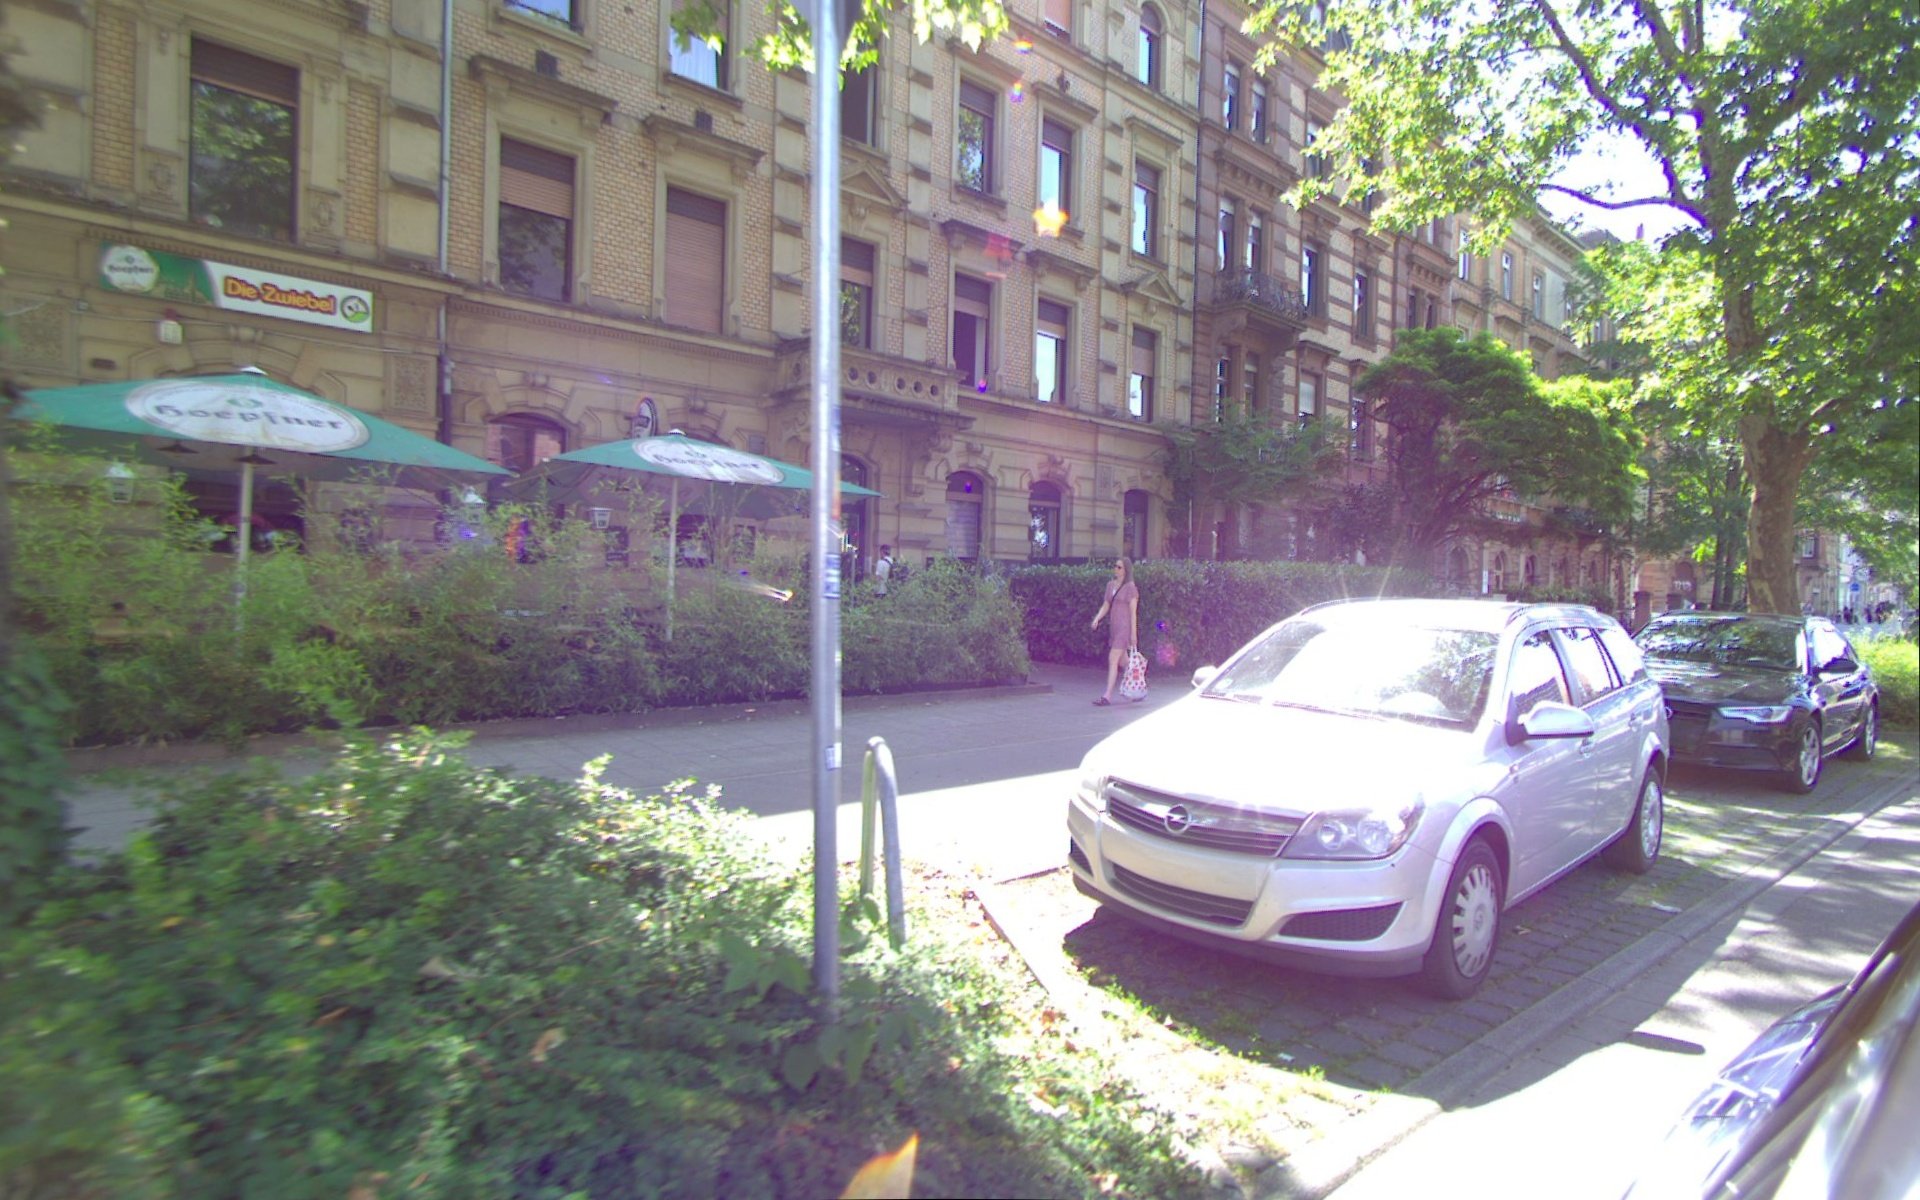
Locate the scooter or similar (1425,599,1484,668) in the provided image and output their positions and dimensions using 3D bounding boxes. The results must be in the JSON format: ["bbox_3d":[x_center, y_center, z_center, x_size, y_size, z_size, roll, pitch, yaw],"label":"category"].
[{"bbox_3d":[9.461,0.617,19.364,1.125,1.263,0.583,1,1,-41],"label":"scooter or similar"}]

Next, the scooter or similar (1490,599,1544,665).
[{"bbox_3d":[11.571,0.653,21.013,1.124,1.298,0.583,1,1,-39],"label":"scooter or similar"}]

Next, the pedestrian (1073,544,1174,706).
[{"bbox_3d":[1.928,0.270,11.960,0.837,1.807,0.737,1,3,-41],"label":"pedestrian"}]

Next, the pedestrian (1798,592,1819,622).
[{"bbox_3d":[49.620,0.404,59.158,0.951,1.740,0.796,1,1,-41],"label":"pedestrian"}]

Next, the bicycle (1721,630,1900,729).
[{"bbox_3d":[10.538,0.963,12.593,1.615,1.102,0.469,2,1,17],"label":"bicycle"}]

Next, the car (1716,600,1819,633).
[{"bbox_3d":[41.598,0.815,52.201,4.076,1.535,1.860,3,1,41],"label":"car"}]

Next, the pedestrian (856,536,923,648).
[{"bbox_3d":[-1.181,-0.148,16.861,0.724,1.807,0.853,1,2,-33],"label":"pedestrian"}]

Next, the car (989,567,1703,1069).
[{"bbox_3d":[2.348,0.660,5.331,4.418,1.527,1.835,0,2,-45],"label":"car"}]

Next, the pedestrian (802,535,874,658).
[{"bbox_3d":[-1.942,-0.076,16.105,0.726,1.874,0.851,1,3,-42],"label":"pedestrian"}]

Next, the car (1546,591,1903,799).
[{"bbox_3d":[7.589,0.729,9.861,4.561,1.527,1.837,1,1,-41],"label":"car"}]
